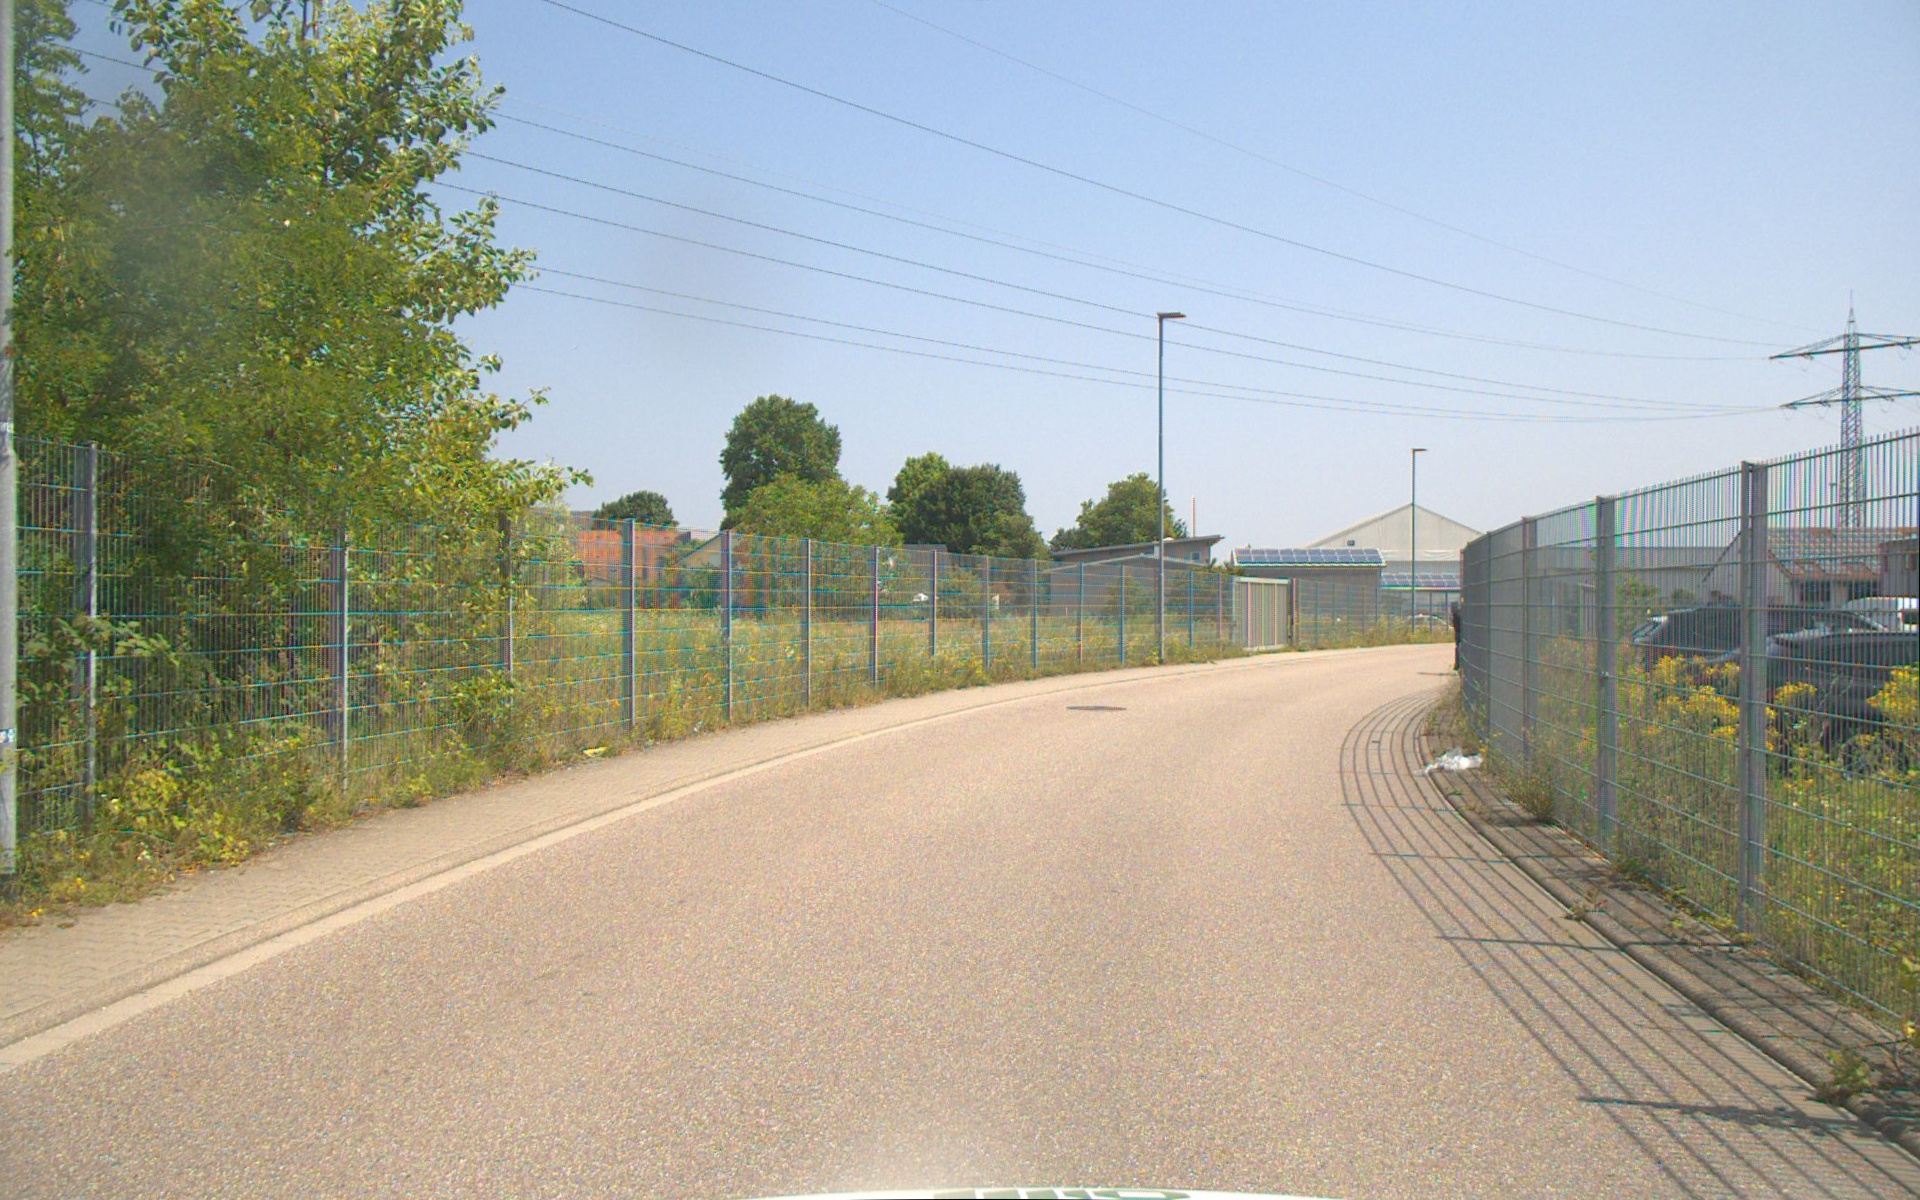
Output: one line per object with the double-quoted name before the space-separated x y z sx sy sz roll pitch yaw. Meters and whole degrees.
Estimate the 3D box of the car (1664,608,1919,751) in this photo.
"car" 9.691 0.795 17.318 4.192 1.402 1.765 0 0 21

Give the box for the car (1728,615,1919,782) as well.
"car" 9.378 0.851 14.853 4.248 1.402 1.766 0 0 15

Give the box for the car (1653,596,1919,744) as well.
"car" 10.743 0.801 20.025 4.198 1.666 1.762 0 0 28

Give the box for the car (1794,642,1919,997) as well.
"car" 6.808 1.099 8.661 4.033 1.699 1.725 0 0 11

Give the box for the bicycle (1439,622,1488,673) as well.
"bicycle" 11.071 1.032 36.341 0.672 1.070 1.898 1 0 28

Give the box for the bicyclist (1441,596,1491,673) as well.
"bicyclist" 11.155 0.750 36.442 0.826 1.646 1.038 2 1 28
